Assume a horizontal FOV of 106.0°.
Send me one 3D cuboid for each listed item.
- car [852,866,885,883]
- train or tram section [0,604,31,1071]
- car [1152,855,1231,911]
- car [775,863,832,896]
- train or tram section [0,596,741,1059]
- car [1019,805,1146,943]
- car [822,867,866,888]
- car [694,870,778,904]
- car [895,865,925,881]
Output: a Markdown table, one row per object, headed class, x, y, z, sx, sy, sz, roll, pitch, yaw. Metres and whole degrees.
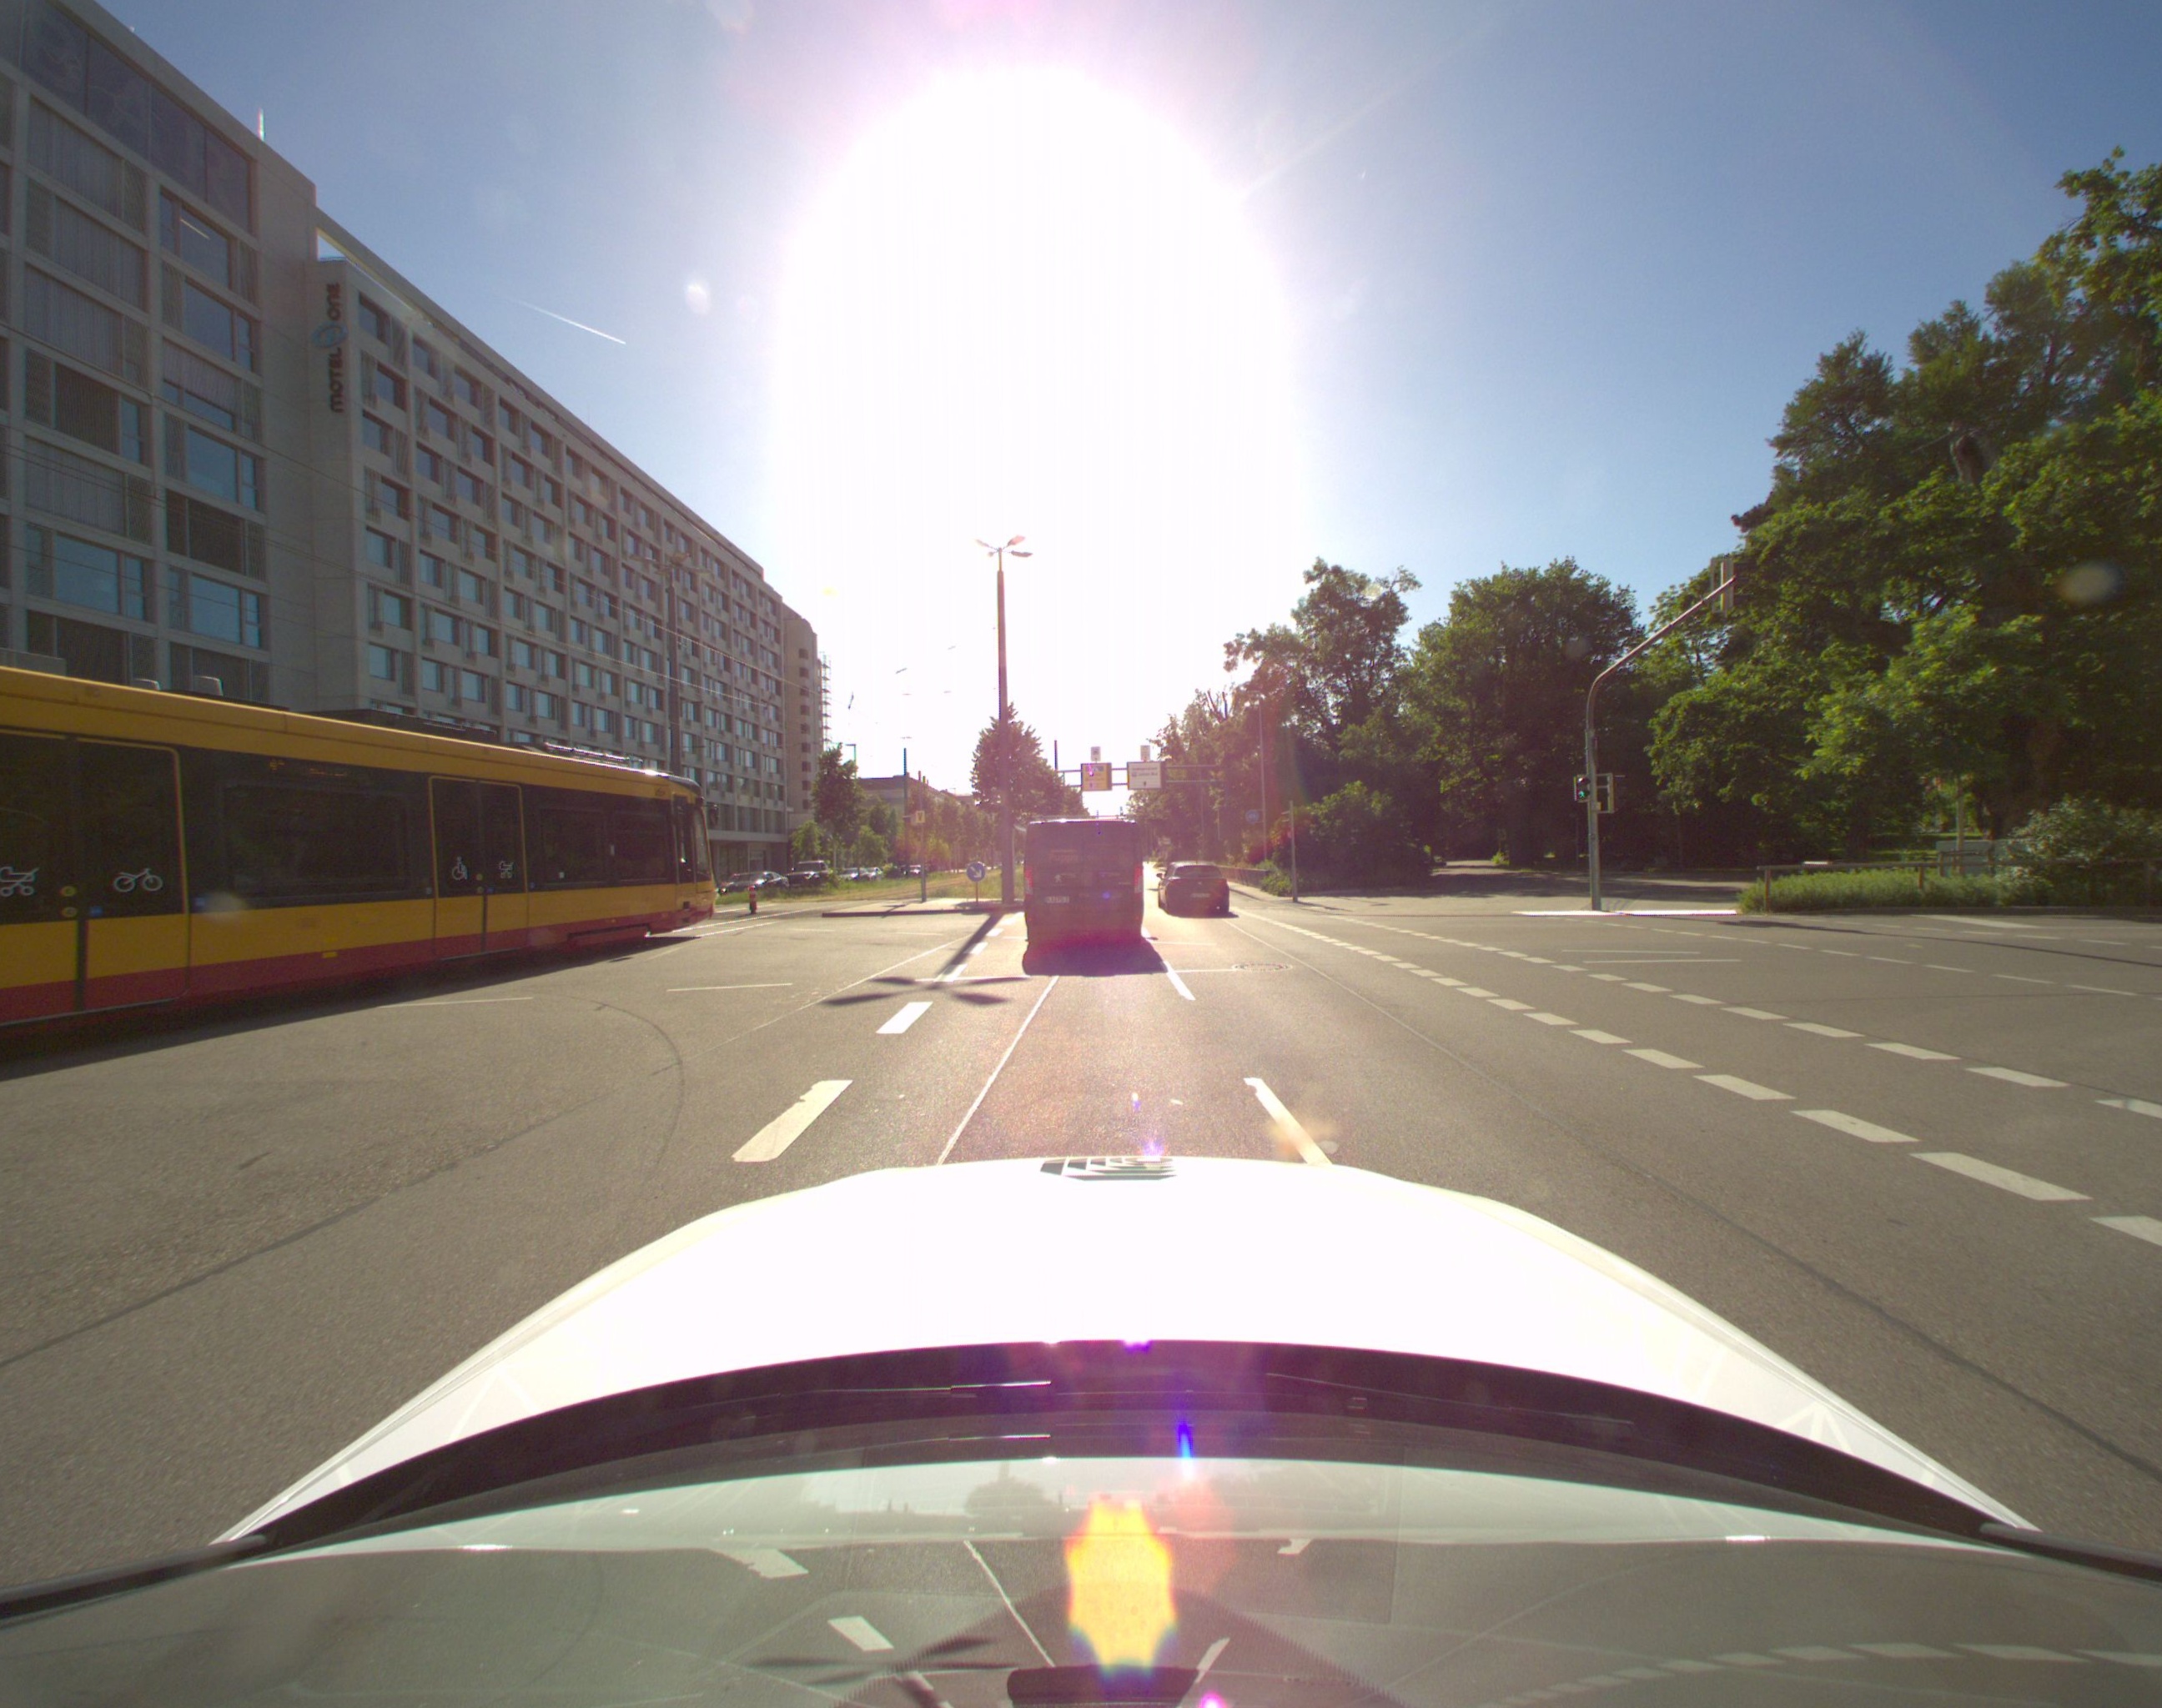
| class | x | y | z | sx | sy | sz | roll | pitch | yaw |
| --- | --- | --- | --- | --- | --- | --- | --- | --- | --- |
| car | -20.911 | 1.973 | 80.377 | 1.985 | 1.552 | 4.004 | -1 | -1 | 4 |
| train or tram section | -10.017 | -0.159 | 1.004 | 1.984 | 3.669 | 11.333 | -1 | -1 | 6 |
| car | 3.112 | 0.794 | 23.691 | 1.757 | 1.462 | 4.000 | -1 | -1 | 0 |
| car | -16.221 | 1.426 | 47.857 | 1.988 | 1.819 | 4.282 | -1 | -1 | -2 |
| train or tram section | -9.043 | -0.158 | 12.317 | 1.984 | 3.669 | 11.698 | -1 | -1 | 5 |
| car | 0.092 | 0.352 | 15.426 | 2.074 | 2.249 | 4.001 | -1 | -1 | 2 |
| car | -18.530 | 1.797 | 63.776 | 1.985 | 1.552 | 4.004 | -1 | -1 | 4 |
| car | -17.001 | 1.583 | 40.391 | 1.982 | 1.552 | 4.010 | -1 | -1 | 9 |
| car | -17.623 | 1.957 | 84.116 | 1.985 | 1.552 | 4.004 | -1 | -1 | 4 |
